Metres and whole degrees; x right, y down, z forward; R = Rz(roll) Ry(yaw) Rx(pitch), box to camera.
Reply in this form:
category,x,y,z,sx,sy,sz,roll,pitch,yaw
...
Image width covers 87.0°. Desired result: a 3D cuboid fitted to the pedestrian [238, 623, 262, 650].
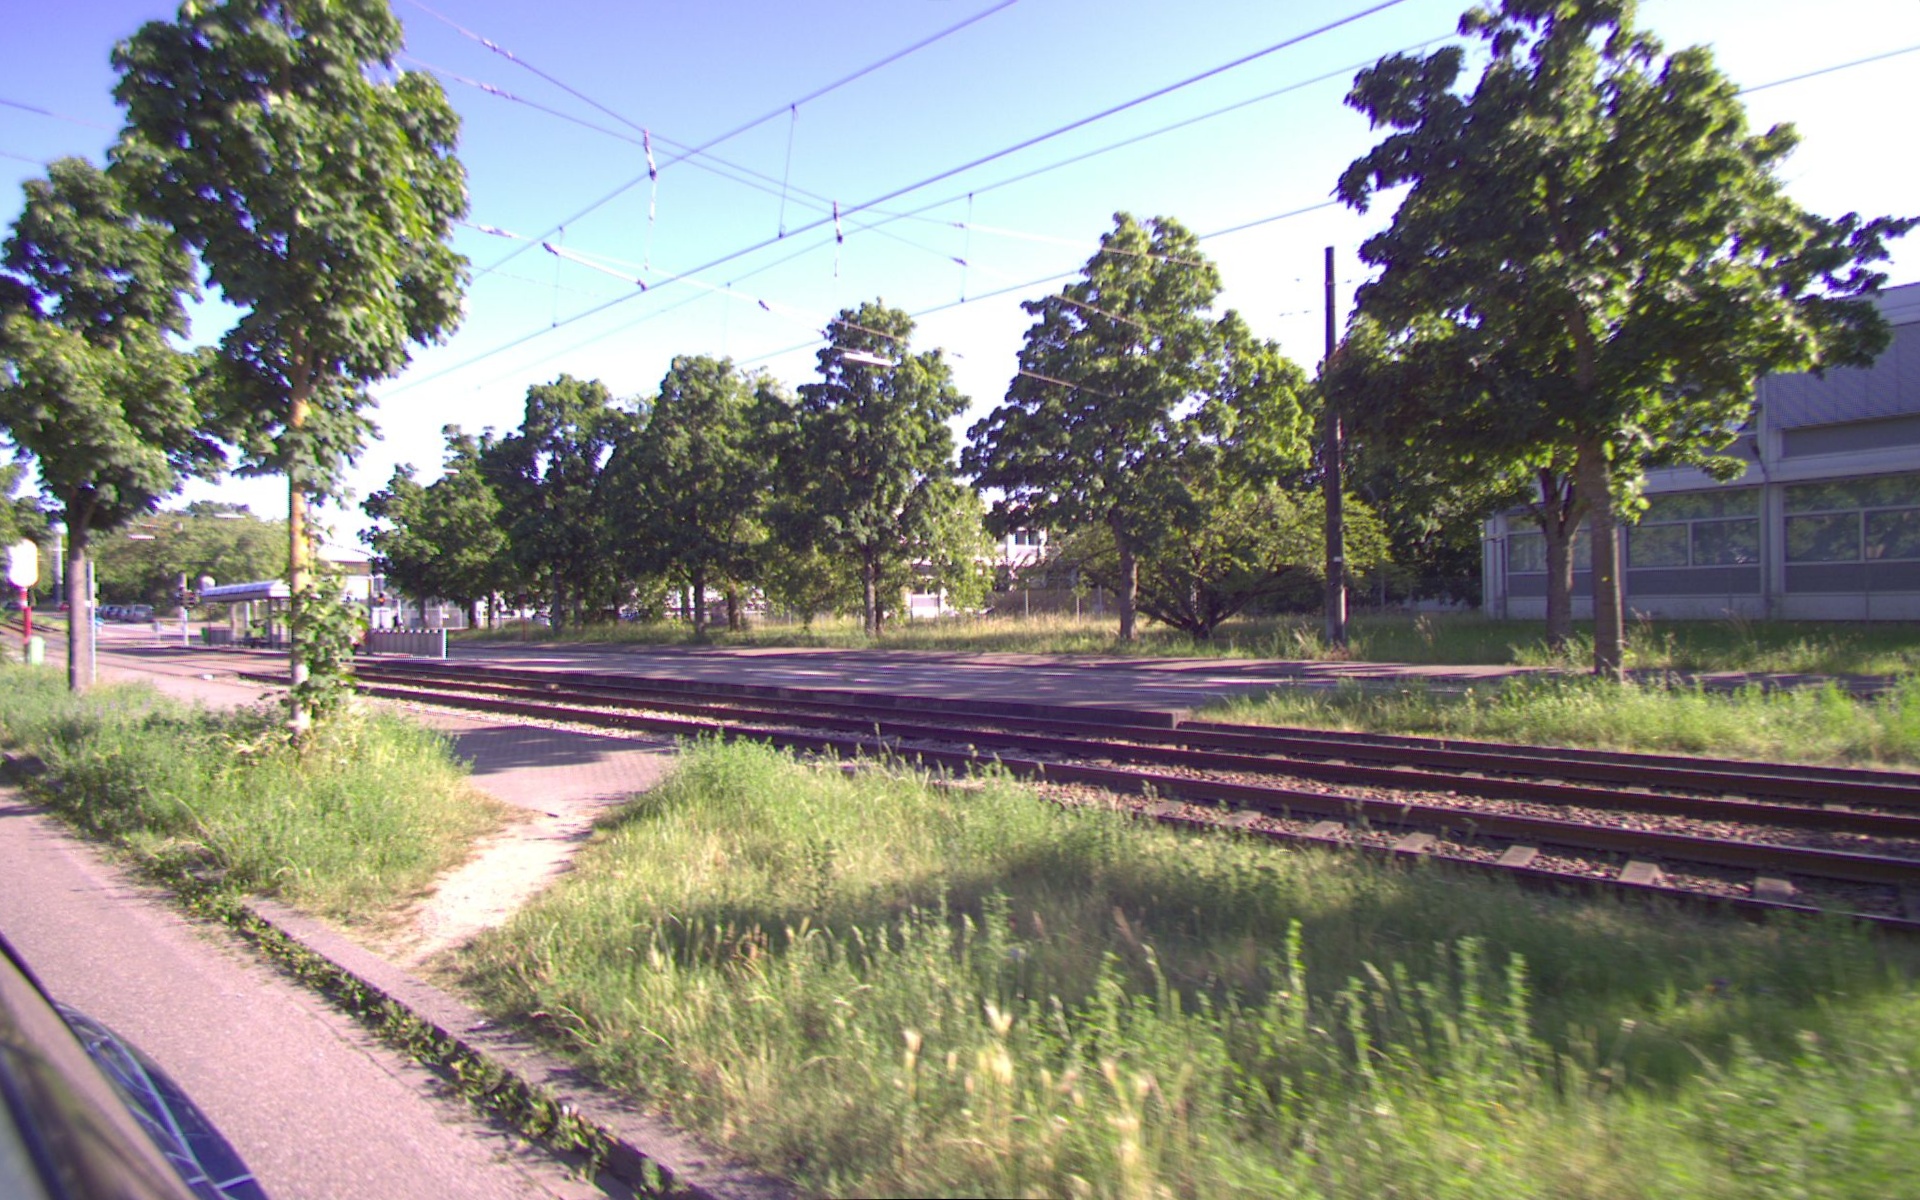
category,x,y,z,sx,sy,sz,roll,pitch,yaw
pedestrian,-32.623,1.679,46.491,0.679,1.258,0.643,-1,-3,33

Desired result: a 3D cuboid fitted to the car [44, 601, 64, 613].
category,x,y,z,sx,sy,sz,roll,pitch,yaw
car,-130.356,1.026,145.631,3.454,1.597,1.680,-1,-1,40

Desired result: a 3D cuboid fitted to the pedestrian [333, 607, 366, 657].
category,x,y,z,sx,sy,sz,roll,pitch,yaw
pedestrian,-22.066,1.152,36.581,0.781,1.765,0.776,-1,0,40

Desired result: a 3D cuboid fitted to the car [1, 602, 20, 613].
category,x,y,z,sx,sy,sz,roll,pitch,yaw
car,-140.666,1.150,149.907,3.454,1.597,1.680,-1,-1,40

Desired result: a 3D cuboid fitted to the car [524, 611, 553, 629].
category,x,y,z,sx,sy,sz,roll,pitch,yaw
car,-43.636,2.068,104.756,1.967,1.719,4.010,-1,0,-34

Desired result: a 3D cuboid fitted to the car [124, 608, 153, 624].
category,x,y,z,sx,sy,sz,roll,pitch,yaw
car,-86.112,1.665,106.110,3.454,1.597,1.749,-1,-1,40

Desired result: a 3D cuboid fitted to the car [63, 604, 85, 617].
category,x,y,z,sx,sy,sz,roll,pitch,yaw
car,-116.068,1.351,132.587,3.454,1.597,1.680,-1,-1,40

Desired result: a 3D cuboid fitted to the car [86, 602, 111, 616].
category,x,y,z,sx,sy,sz,roll,pitch,yaw
car,-101.195,1.071,118.852,3.454,1.597,1.680,-1,-1,40
